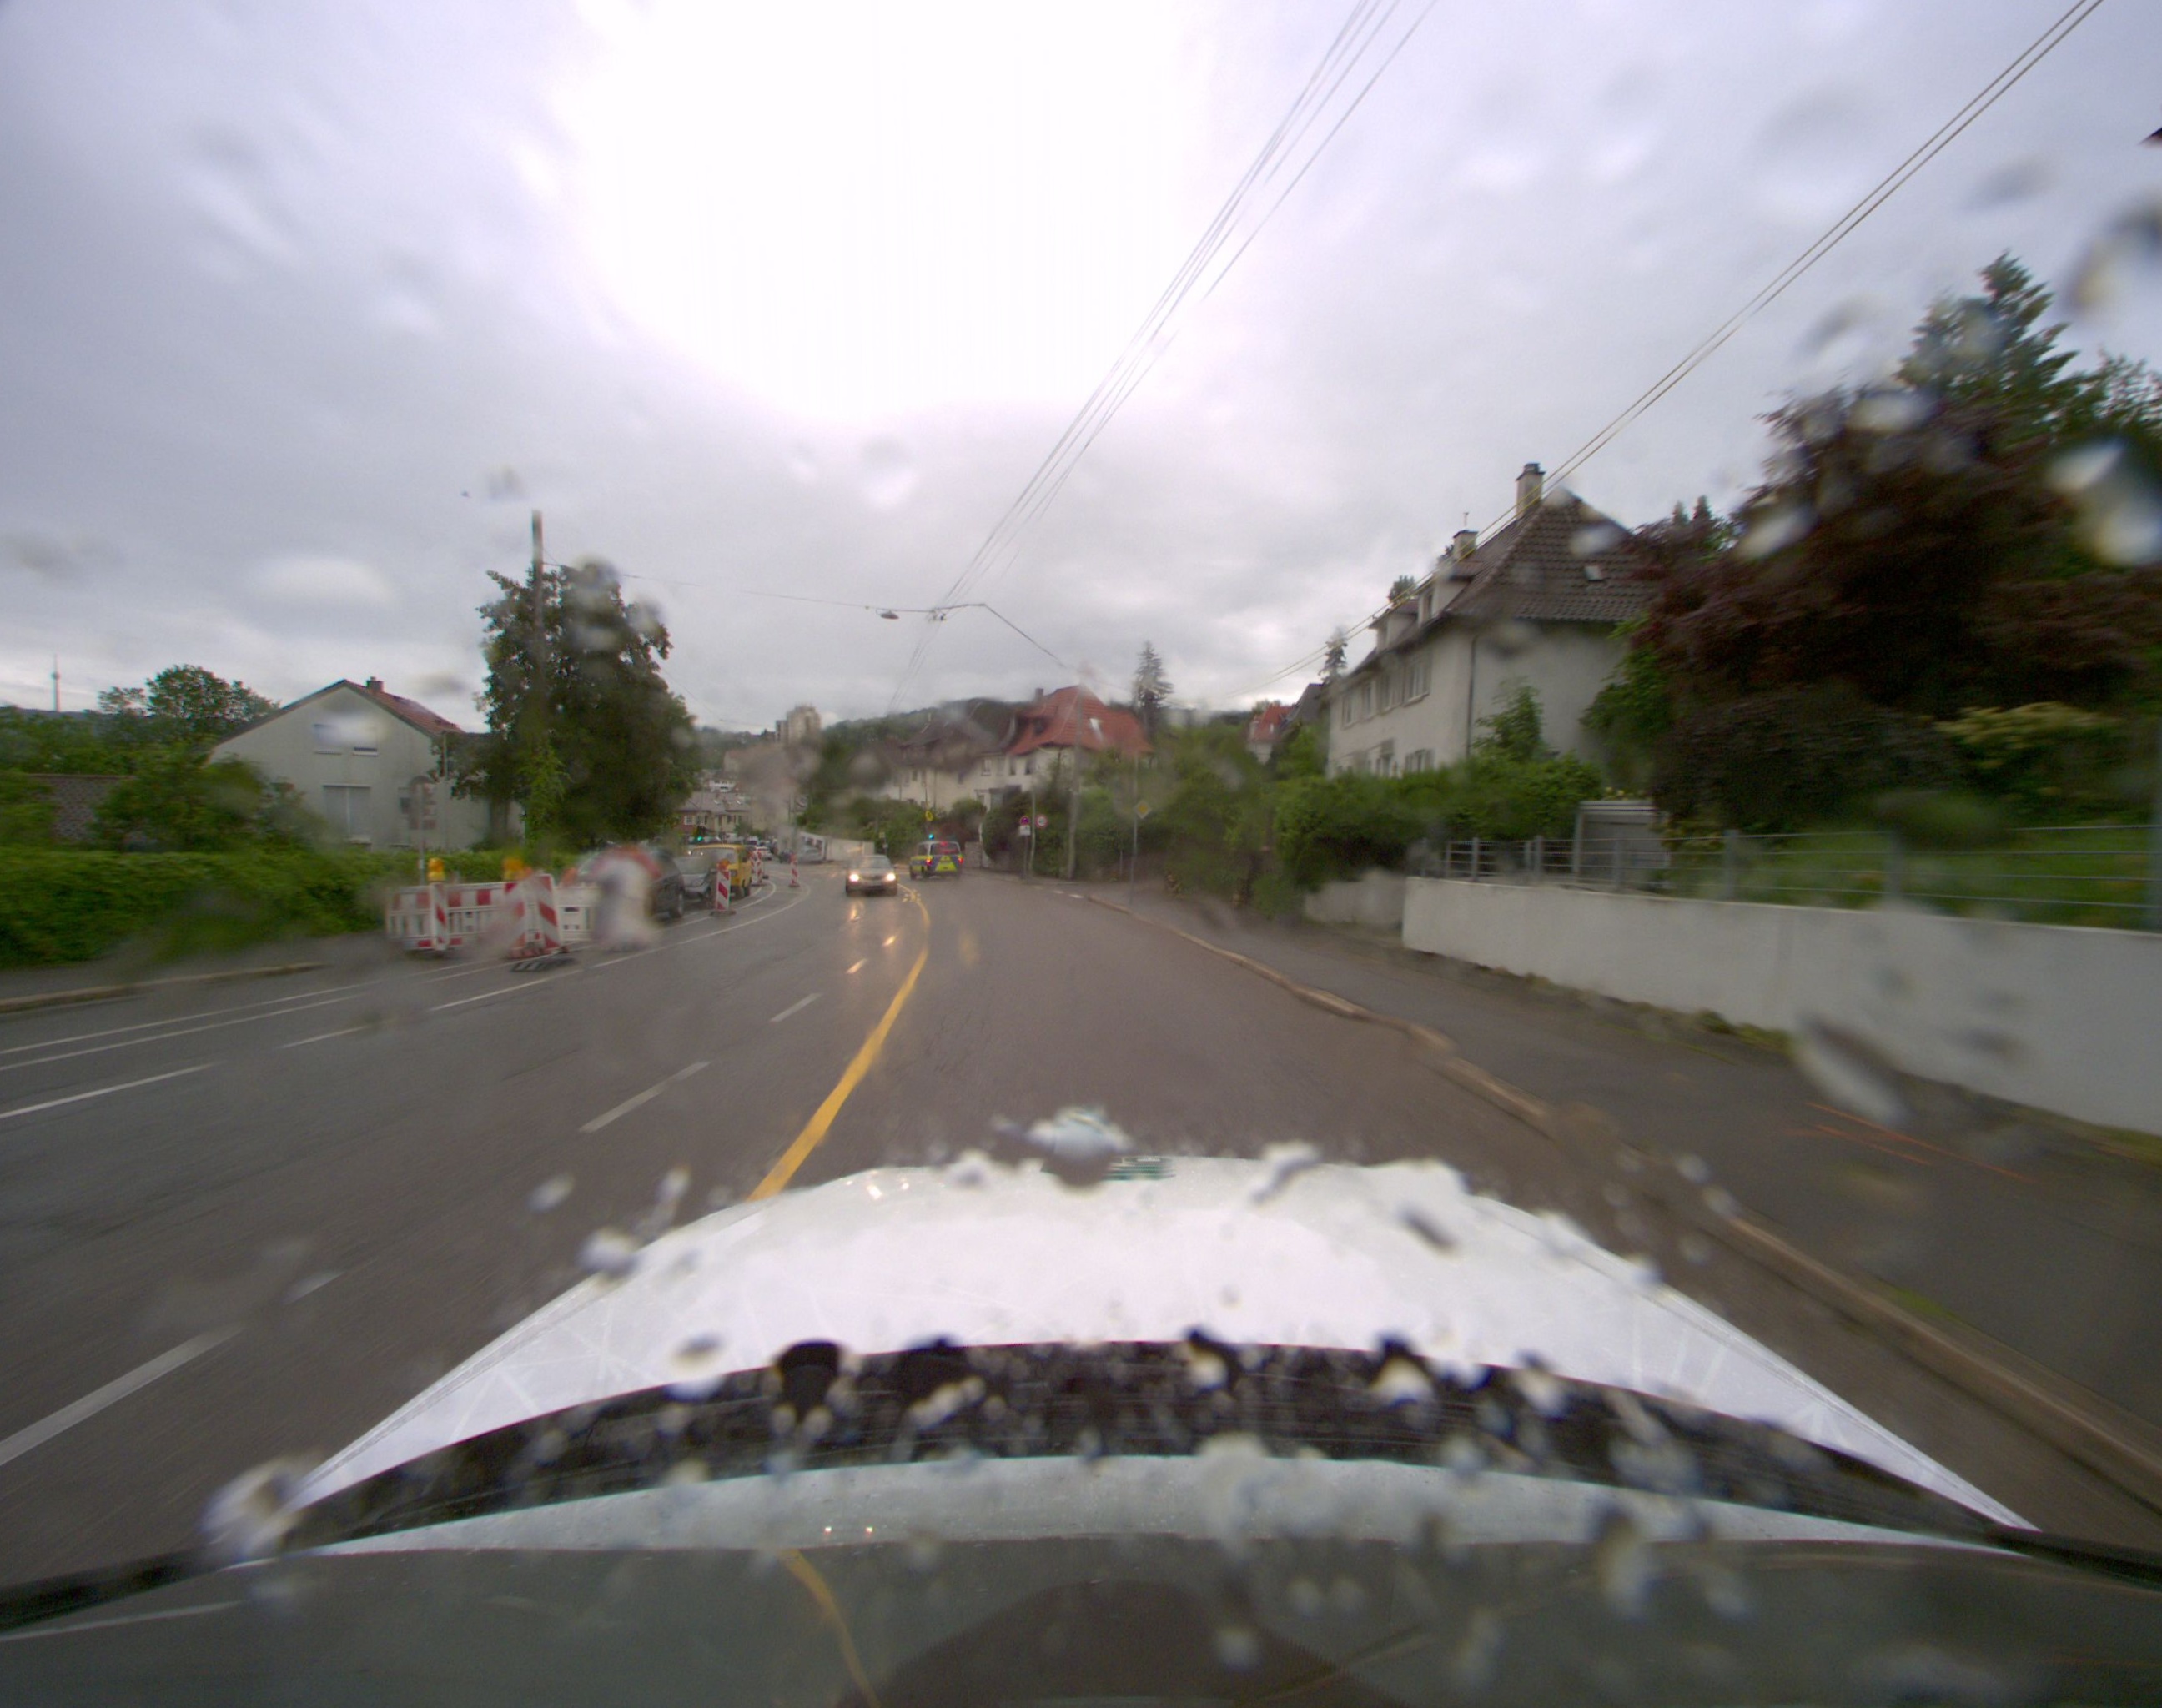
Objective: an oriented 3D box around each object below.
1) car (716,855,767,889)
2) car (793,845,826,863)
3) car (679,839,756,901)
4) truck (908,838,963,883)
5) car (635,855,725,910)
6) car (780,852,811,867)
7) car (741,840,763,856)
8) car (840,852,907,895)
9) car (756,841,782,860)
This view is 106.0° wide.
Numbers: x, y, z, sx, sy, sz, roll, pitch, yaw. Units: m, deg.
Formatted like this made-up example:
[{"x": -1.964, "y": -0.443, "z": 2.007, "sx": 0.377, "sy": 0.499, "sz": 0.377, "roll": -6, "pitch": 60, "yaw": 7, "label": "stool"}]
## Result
[{"x": -15.415, "y": 0.788, "z": 37.173, "sx": 1.851, "sy": 1.464, "sz": 3.744, "roll": 1, "pitch": 0, "yaw": -19, "label": "car"}, {"x": -24.772, "y": -0.038, "z": 74.244, "sx": 2.007, "sy": 1.574, "sz": 3.960, "roll": 1, "pitch": 0, "yaw": -32, "label": "car"}, {"x": -12.995, "y": 0.533, "z": 29.387, "sx": 1.999, "sy": 2.014, "sz": 5.110, "roll": 1, "pitch": 0, "yaw": -18, "label": "car"}, {"x": -7.567, "y": 0.243, "z": 41.948, "sx": 2.001, "sy": 2.013, "sz": 4.703, "roll": -1, "pitch": 3, "yaw": -21, "label": "truck"}, {"x": -11.636, "y": 0.785, "z": 23.852, "sx": 1.851, "sy": 1.464, "sz": 3.744, "roll": 1, "pitch": 0, "yaw": -19, "label": "car"}, {"x": -27.613, "y": 0.508, "z": 78.753, "sx": 2.007, "sy": 1.376, "sz": 3.960, "roll": 1, "pitch": 0, "yaw": -32, "label": "car"}, {"x": -40.604, "y": -0.758, "z": 100.445, "sx": 2.006, "sy": 1.683, "sz": 3.964, "roll": -2, "pitch": 6, "yaw": -30, "label": "car"}, {"x": -7.685, "y": 0.692, "z": 30.497, "sx": 1.993, "sy": 1.464, "sz": 3.988, "roll": 1, "pitch": 0, "yaw": -9, "label": "car"}, {"x": -34.628, "y": -0.412, "z": 90.368, "sx": 2.006, "sy": 1.683, "sz": 3.964, "roll": -2, "pitch": 6, "yaw": -30, "label": "car"}]
